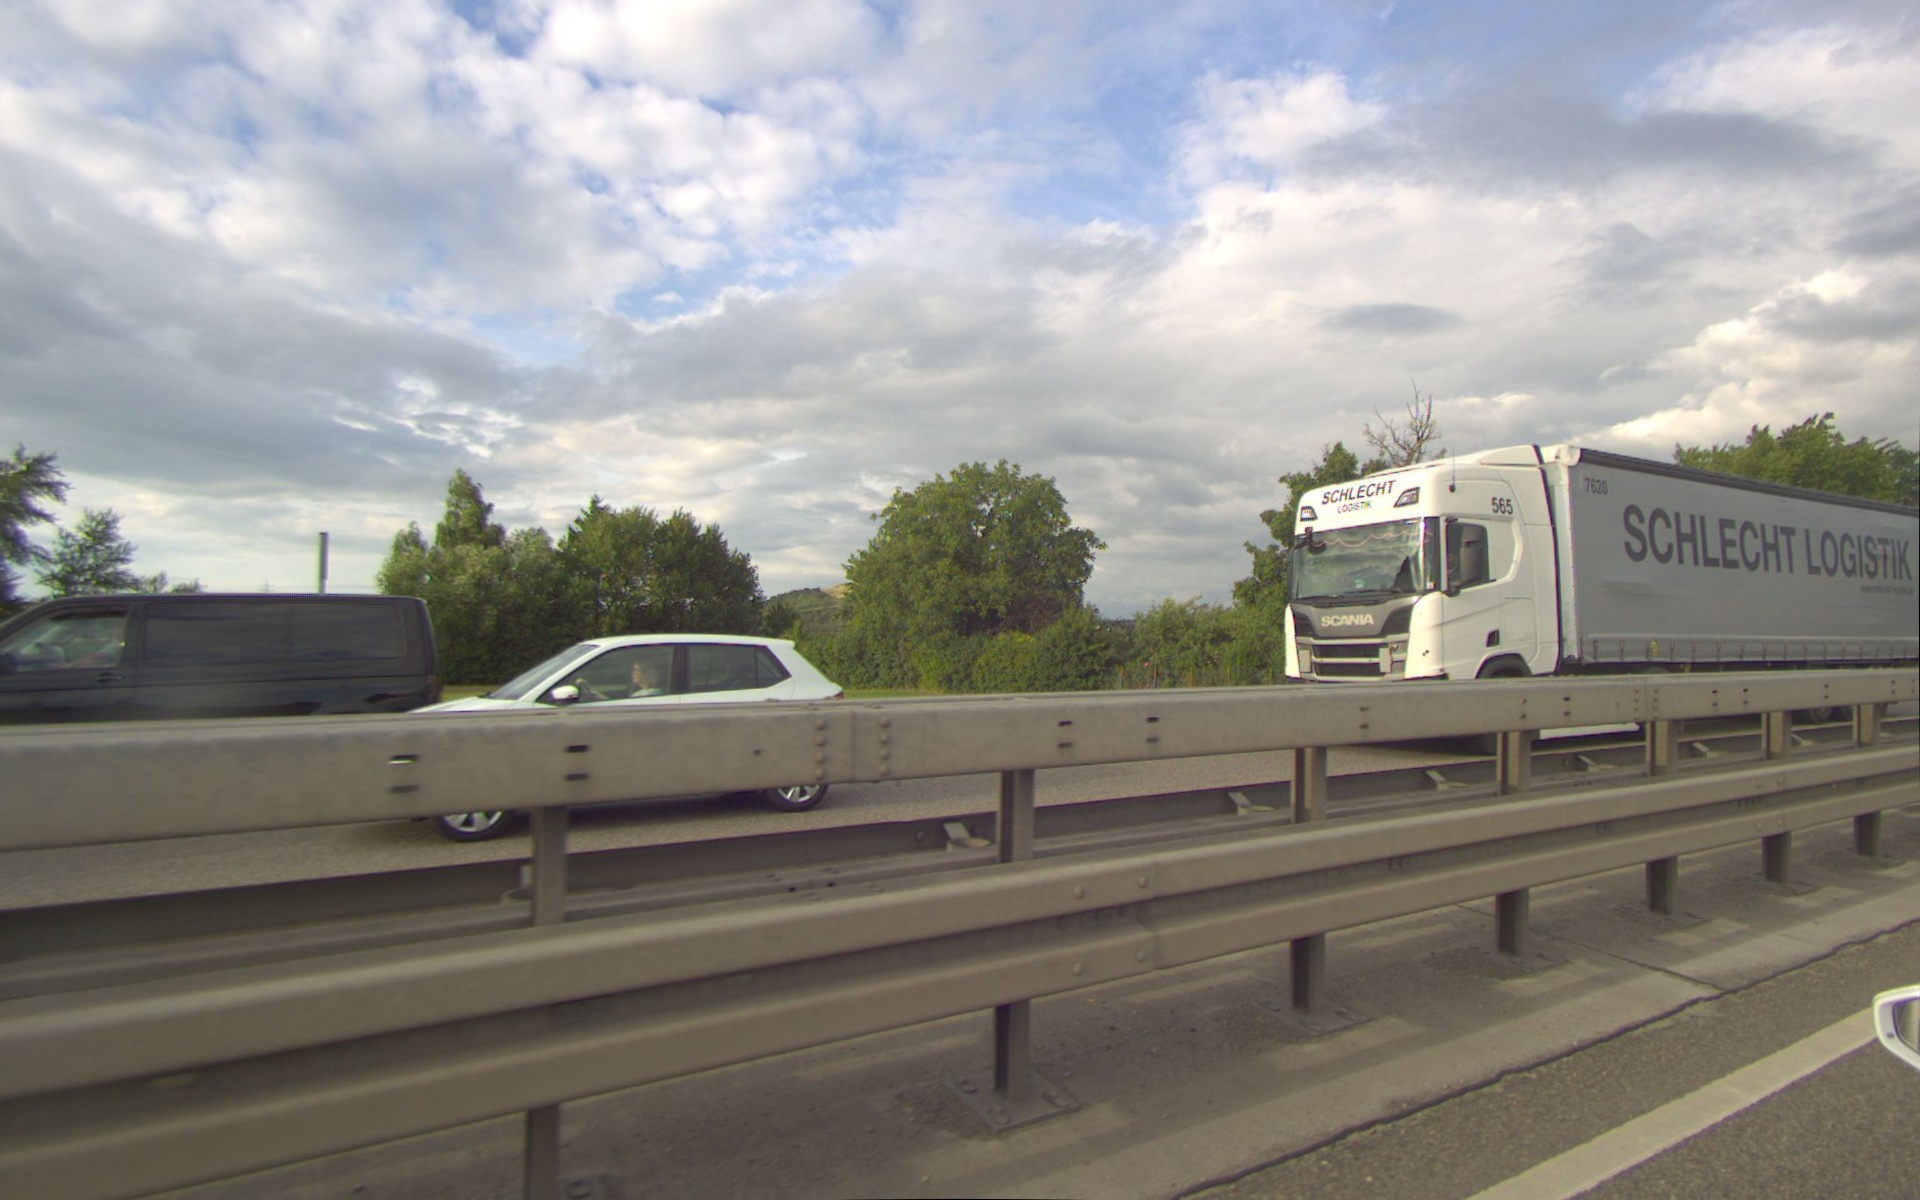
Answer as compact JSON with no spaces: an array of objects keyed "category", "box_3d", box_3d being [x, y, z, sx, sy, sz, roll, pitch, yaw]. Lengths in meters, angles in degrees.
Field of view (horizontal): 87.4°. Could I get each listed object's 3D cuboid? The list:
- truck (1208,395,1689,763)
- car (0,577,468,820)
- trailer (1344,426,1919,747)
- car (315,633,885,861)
[{"category":"truck","box_3d":[7.033,-0.094,14.490,5.980,4.204,3.458,1,-4,-31]},{"category":"car","box_3d":[-7.646,0.907,9.888,4.889,2.040,1.984,2,-3,-31]},{"category":"trailer","box_3d":[12.969,0.060,18.174,13.756,4.204,3.449,1,-4,-31]},{"category":"car","box_3d":[-2.844,1.018,8.326,4.113,1.463,1.780,1,-3,-31]}]
